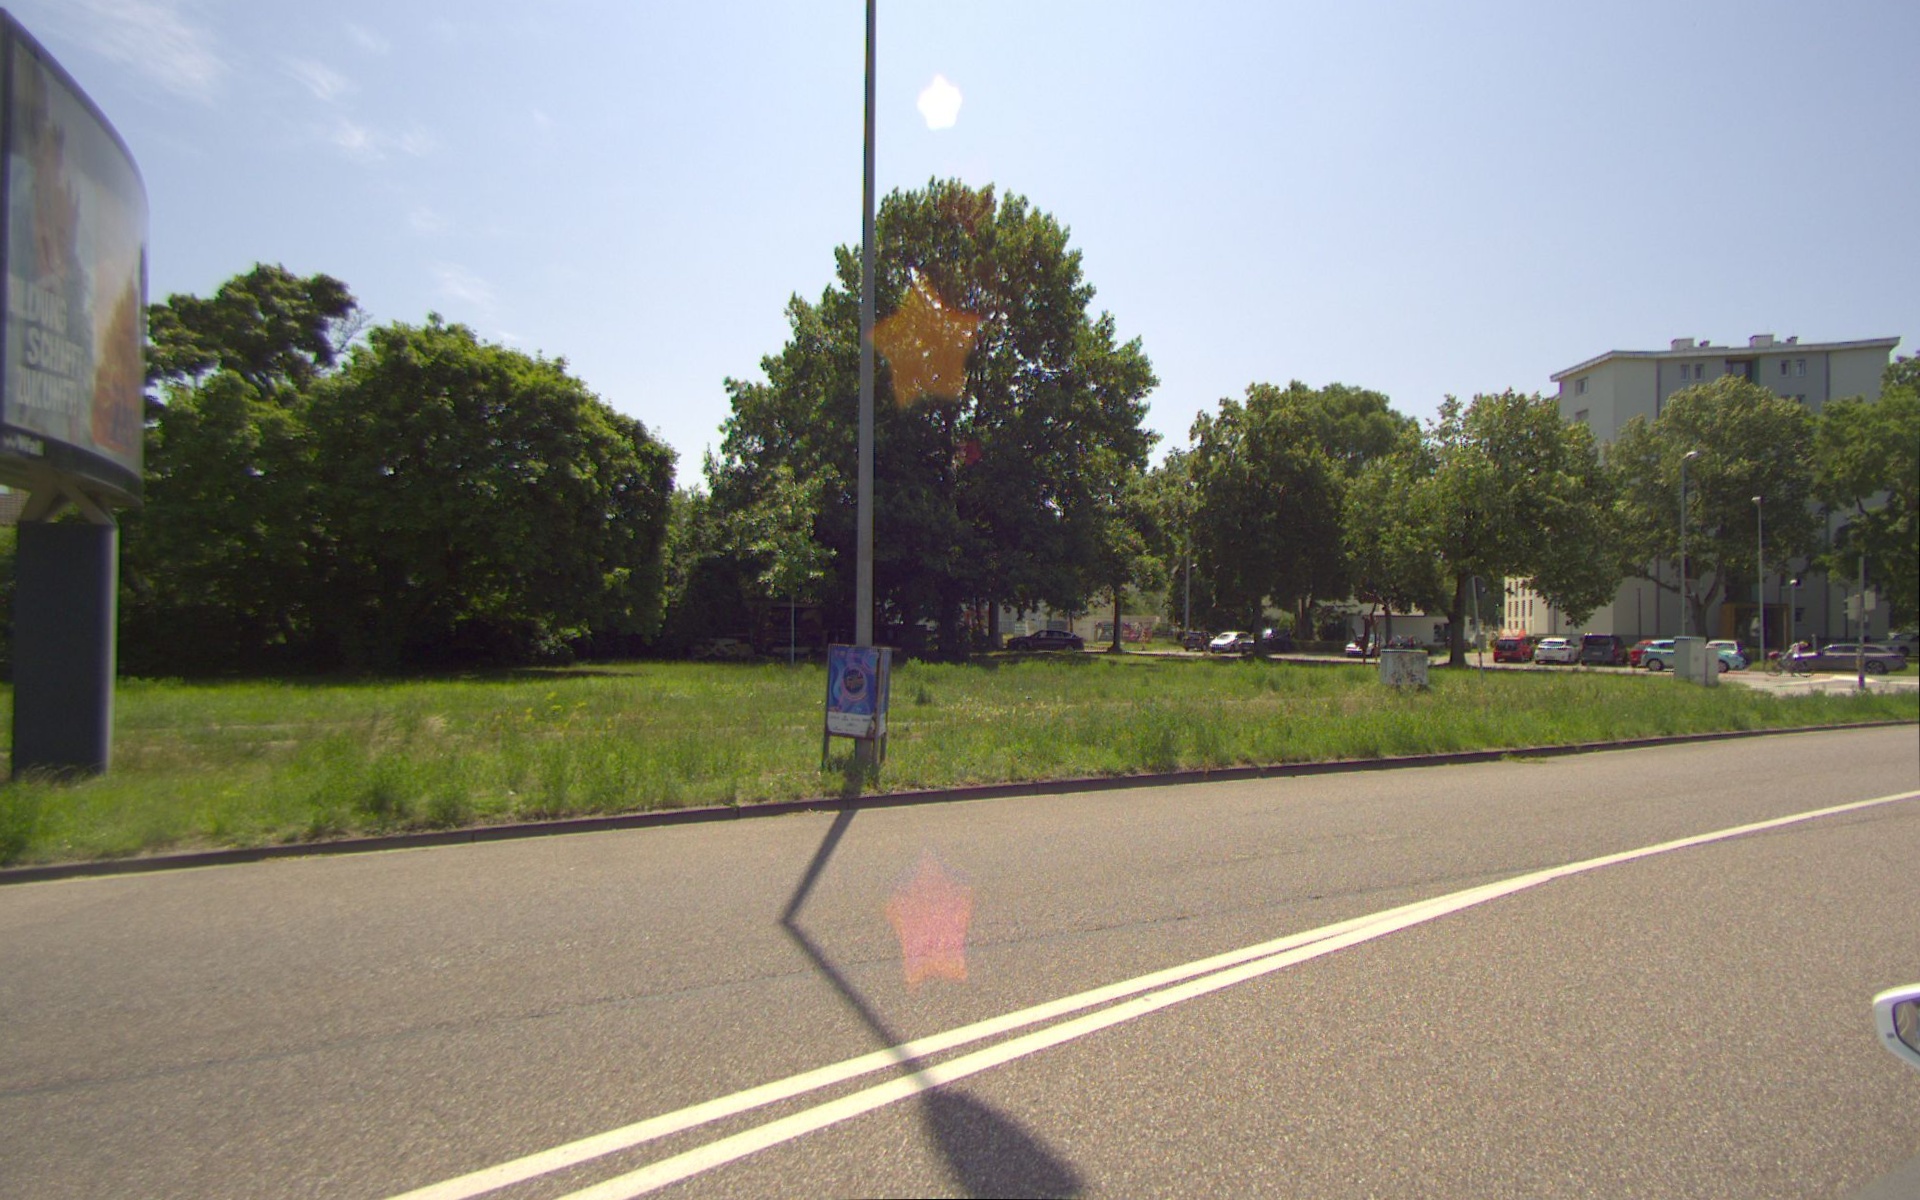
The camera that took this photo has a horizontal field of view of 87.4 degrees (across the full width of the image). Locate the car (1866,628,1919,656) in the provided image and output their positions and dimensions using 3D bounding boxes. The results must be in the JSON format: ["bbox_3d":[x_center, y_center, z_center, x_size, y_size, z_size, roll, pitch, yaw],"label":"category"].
[{"bbox_3d":[63.644,2.825,66.959,4.457,1.791,1.793,0,-1,15],"label":"car"}]

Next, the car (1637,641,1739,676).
[{"bbox_3d":[34.481,2.727,47.612,3.839,1.488,1.767,0,-2,40],"label":"car"}]

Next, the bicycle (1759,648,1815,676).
[{"bbox_3d":[35.605,2.652,43.240,1.843,1.108,0.643,0,-2,43],"label":"bicycle"}]

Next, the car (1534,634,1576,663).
[{"bbox_3d":[35.794,2.908,60.391,1.683,1.613,3.984,1,-1,37],"label":"car"}]

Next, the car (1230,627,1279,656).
[{"bbox_3d":[21.350,2.949,72.699,1.825,1.973,3.979,1,-1,42],"label":"car"}]

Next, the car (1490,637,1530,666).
[{"bbox_3d":[33.957,3.135,61.960,1.821,1.690,3.989,0,-2,34],"label":"car"}]

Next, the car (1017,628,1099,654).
[{"bbox_3d":[5.788,2.394,59.606,4.499,1.487,1.998,0,-1,-8],"label":"car"}]

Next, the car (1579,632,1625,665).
[{"bbox_3d":[37.538,2.791,58.703,1.685,1.825,3.979,1,-1,42],"label":"car"}]

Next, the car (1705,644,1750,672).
[{"bbox_3d":[41.918,3.145,54.845,1.606,1.398,3.978,1,-1,43],"label":"car"}]

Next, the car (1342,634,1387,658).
[{"bbox_3d":[27.487,3.091,68.198,1.669,1.583,3.817,0,-2,42],"label":"car"}]

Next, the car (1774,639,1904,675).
[{"bbox_3d":[41.850,2.671,47.912,1.900,1.518,4.569,2,-2,-44],"label":"car"}]

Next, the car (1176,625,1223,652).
[{"bbox_3d":[18.396,2.956,76.933,1.825,1.973,3.979,1,-1,42],"label":"car"}]

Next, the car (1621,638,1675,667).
[{"bbox_3d":[38.829,2.932,56.641,3.970,1.483,1.603,2,-1,-42],"label":"car"}]

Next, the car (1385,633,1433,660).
[{"bbox_3d":[29.763,3.069,66.572,1.826,1.733,3.979,-1,-2,42],"label":"car"}]

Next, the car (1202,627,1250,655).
[{"bbox_3d":[19.815,3.048,74.722,1.825,1.973,3.979,1,-1,42],"label":"car"}]

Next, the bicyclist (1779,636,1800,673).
[{"bbox_3d":[35.674,2.332,43.193,0.656,1.557,0.628,0,-1,42],"label":"bicyclist"}]
